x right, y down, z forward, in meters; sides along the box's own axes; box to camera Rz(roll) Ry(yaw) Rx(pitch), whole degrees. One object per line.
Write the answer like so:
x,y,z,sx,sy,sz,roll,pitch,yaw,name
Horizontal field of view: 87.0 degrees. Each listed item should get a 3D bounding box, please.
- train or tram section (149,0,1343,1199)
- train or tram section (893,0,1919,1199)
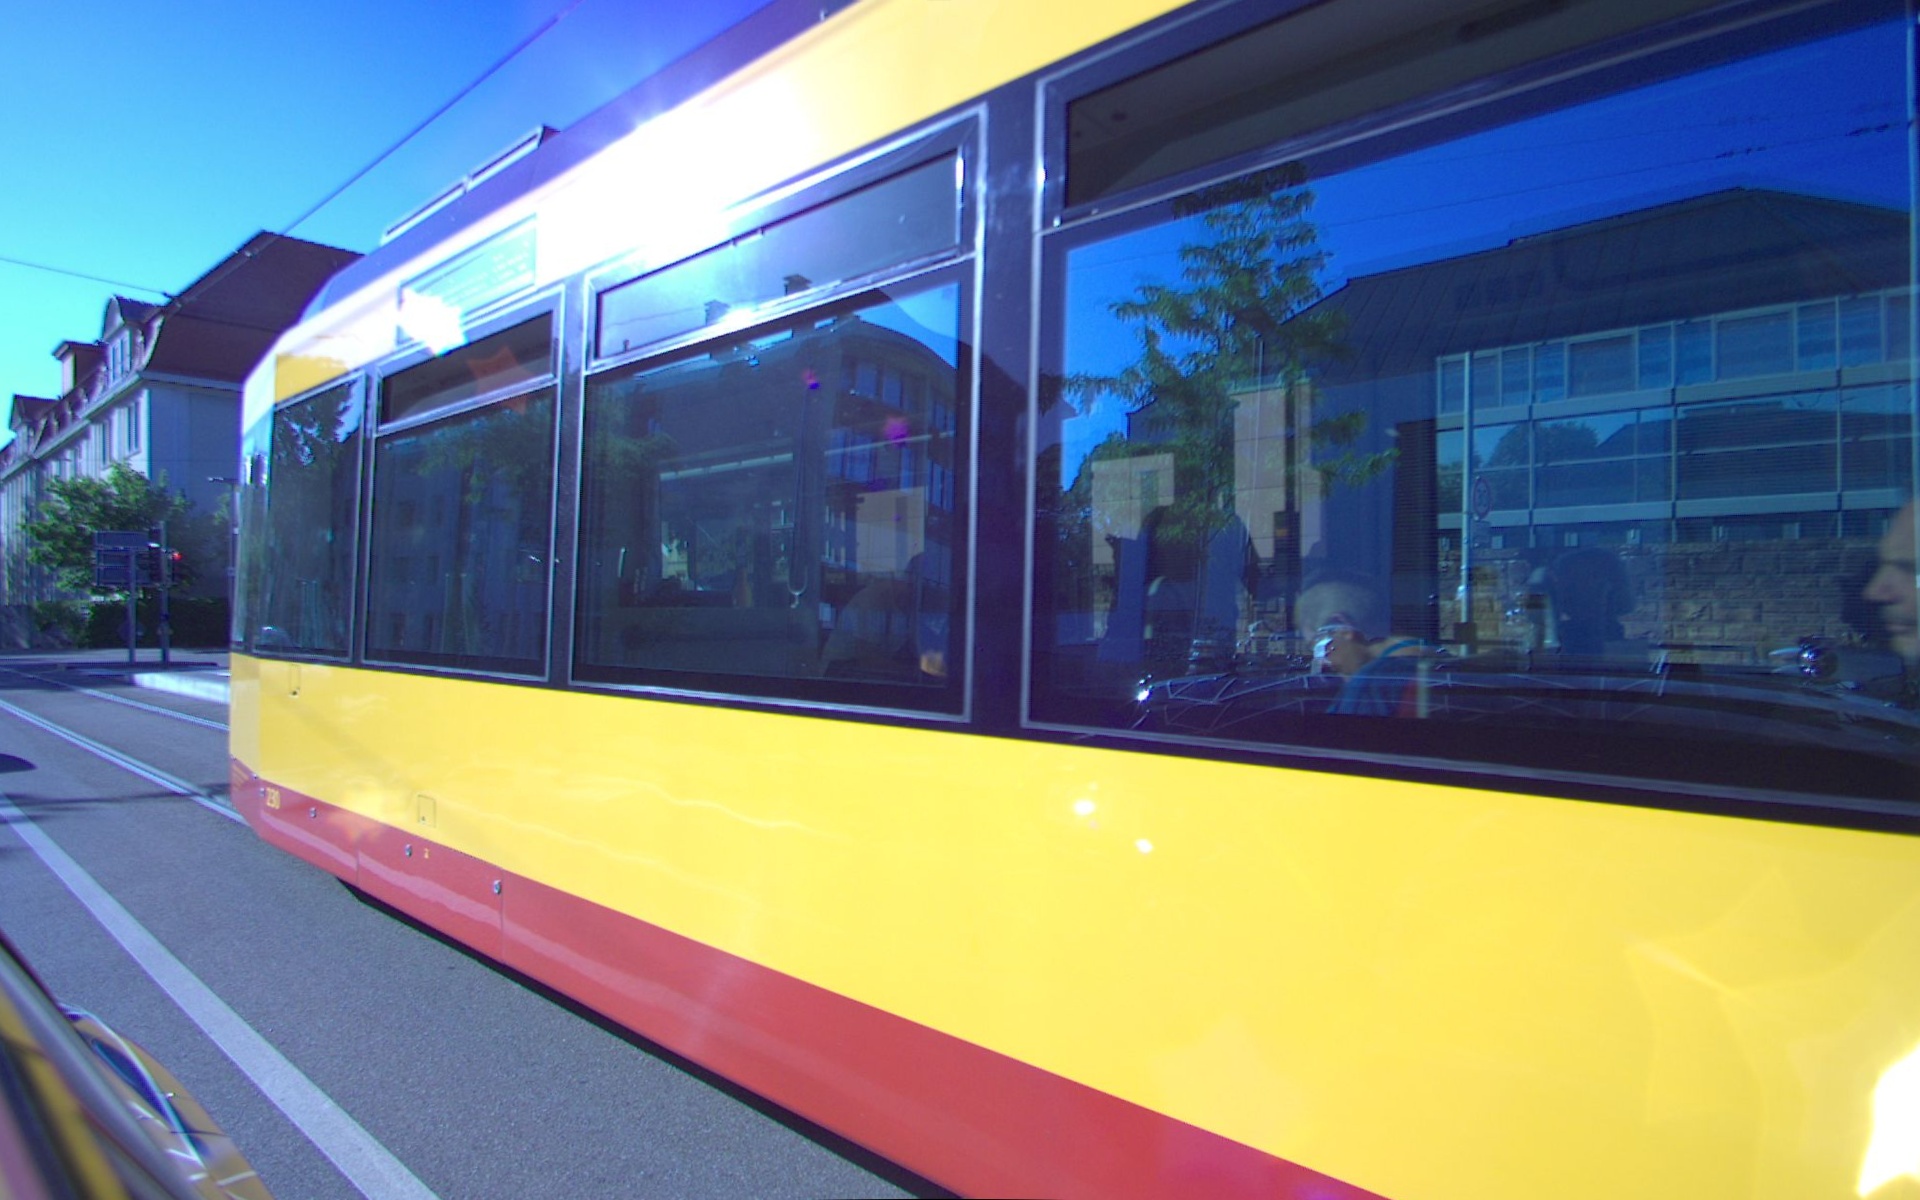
-1.828,-0.275,5.383,6.665,3.486,2.774,-1,-1,41,train or tram section
3.276,-0.415,0.889,6.665,3.486,2.774,-1,-1,41,train or tram section
